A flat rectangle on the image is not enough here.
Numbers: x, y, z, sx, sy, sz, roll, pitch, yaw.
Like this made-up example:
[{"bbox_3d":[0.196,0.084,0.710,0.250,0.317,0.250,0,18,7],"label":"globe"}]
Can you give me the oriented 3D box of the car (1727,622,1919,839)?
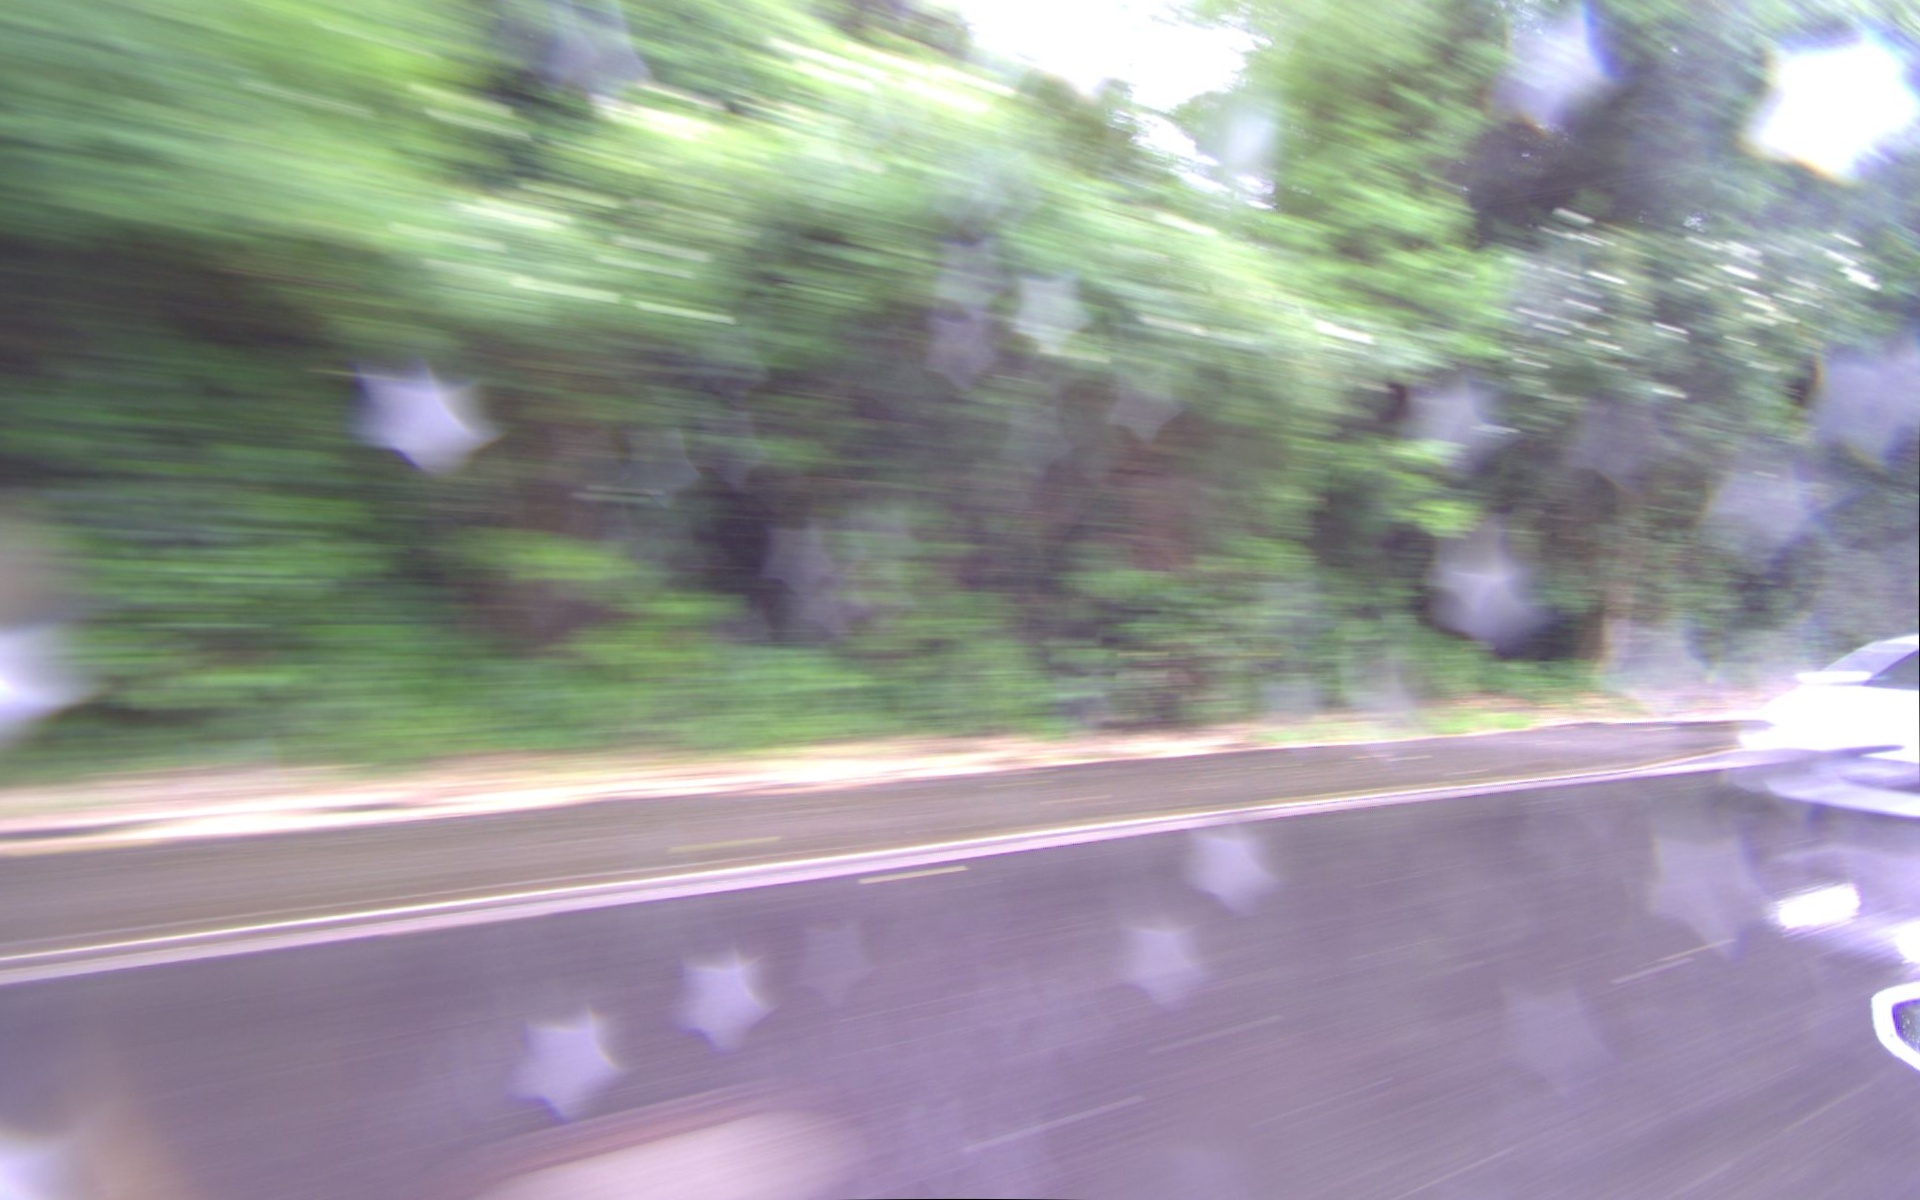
[{"bbox_3d":[8.420,0.948,8.165,4.577,1.438,1.779,1,0,-29],"label":"car"}]
